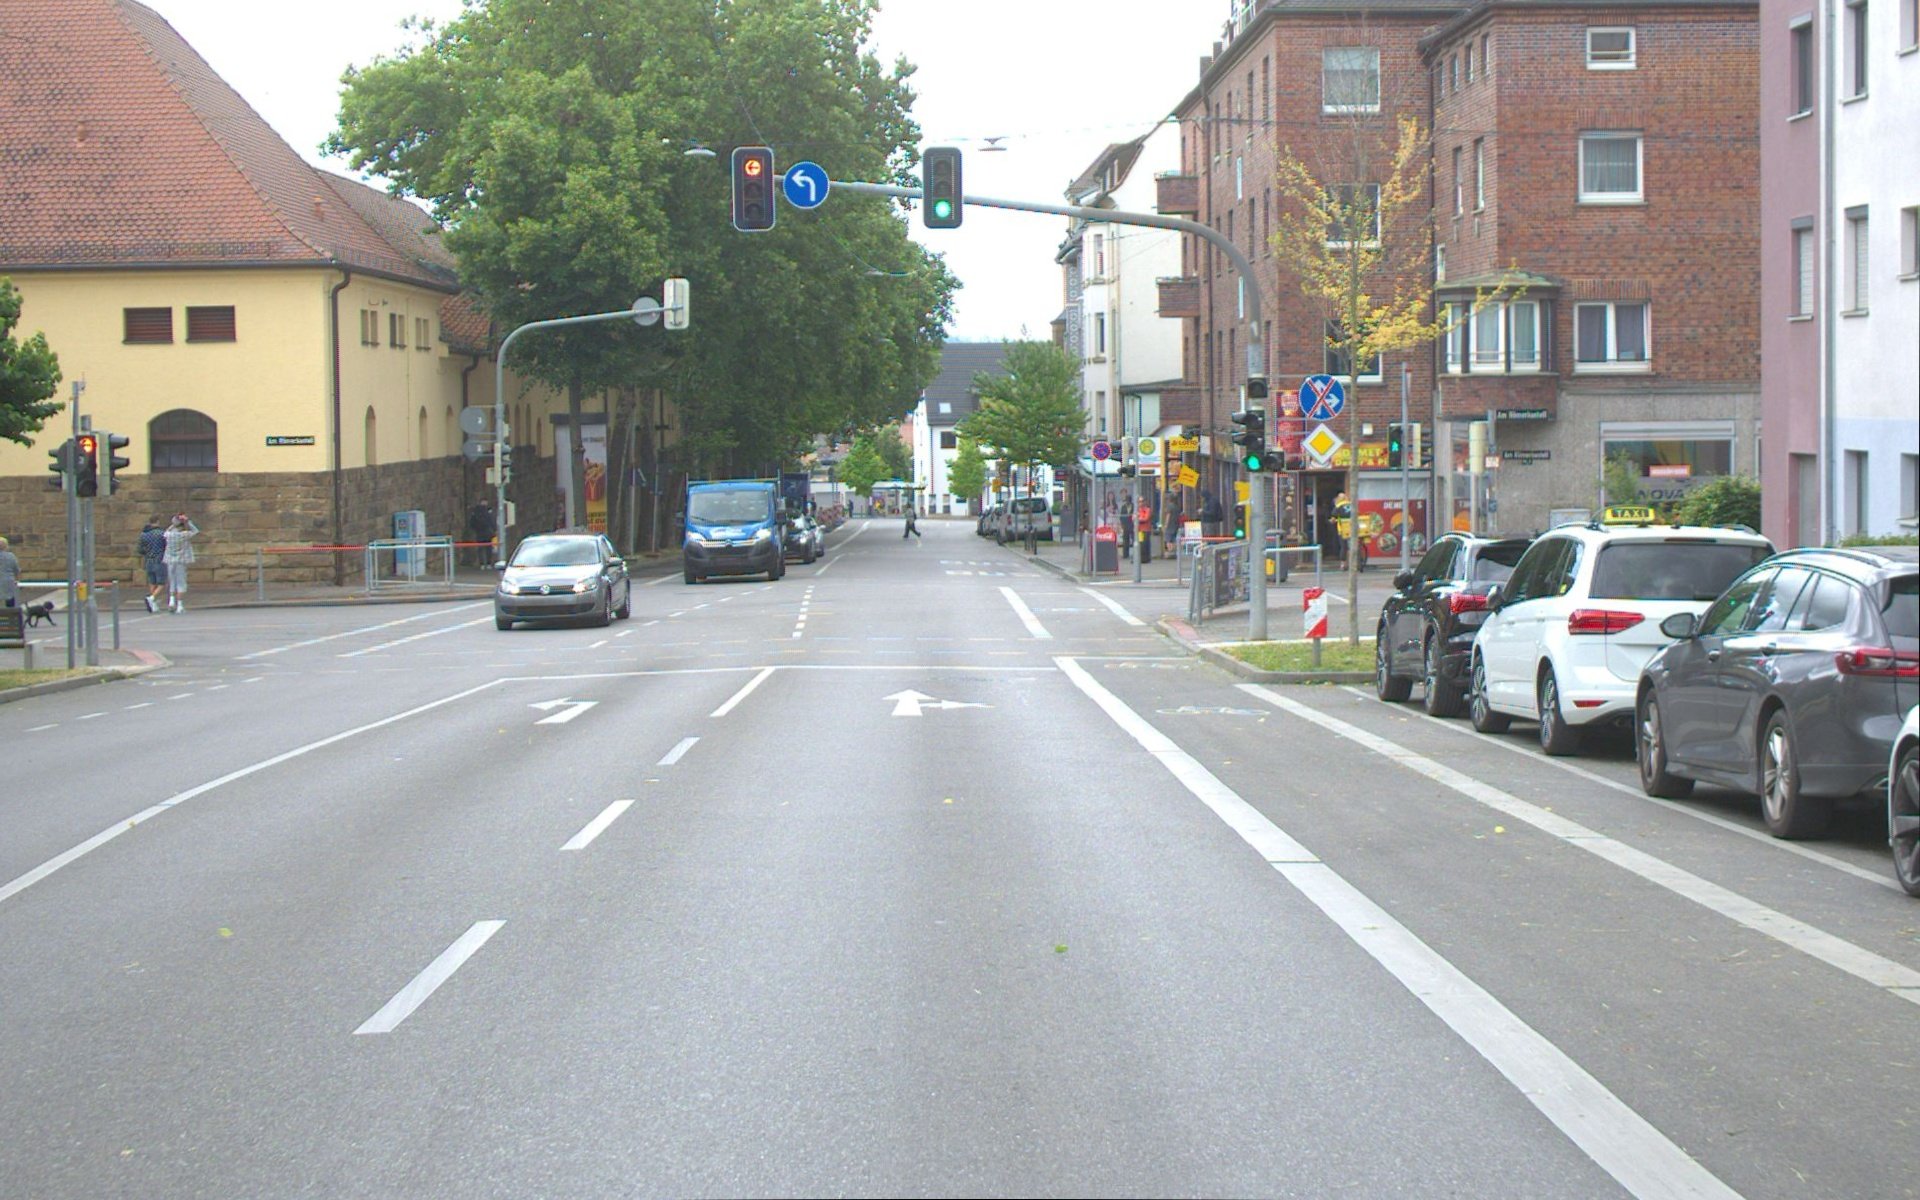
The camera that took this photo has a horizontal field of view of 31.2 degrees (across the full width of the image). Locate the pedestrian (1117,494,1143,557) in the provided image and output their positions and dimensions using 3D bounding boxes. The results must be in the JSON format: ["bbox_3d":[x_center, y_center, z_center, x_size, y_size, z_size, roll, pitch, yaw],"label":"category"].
[{"bbox_3d":[4.654,-2.039,94.182,0.670,1.721,0.763,0,1,5],"label":"pedestrian"}]

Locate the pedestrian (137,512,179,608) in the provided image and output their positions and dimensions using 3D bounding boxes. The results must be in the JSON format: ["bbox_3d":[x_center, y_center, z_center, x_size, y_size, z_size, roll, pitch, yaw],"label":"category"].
[{"bbox_3d":[-14.798,-0.743,63.446,0.564,1.771,0.842,0,1,-1],"label":"pedestrian"}]

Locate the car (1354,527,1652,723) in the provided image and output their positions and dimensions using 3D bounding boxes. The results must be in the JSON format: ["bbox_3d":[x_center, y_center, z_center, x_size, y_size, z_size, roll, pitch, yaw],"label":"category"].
[{"bbox_3d":[4.730,0.169,30.552,1.734,1.583,4.573,1,1,-2],"label":"car"}]

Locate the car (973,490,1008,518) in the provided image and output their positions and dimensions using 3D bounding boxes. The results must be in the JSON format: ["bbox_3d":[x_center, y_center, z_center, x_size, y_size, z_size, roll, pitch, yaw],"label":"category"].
[{"bbox_3d":[1.691,-5.381,192.231,1.668,1.542,3.757,0,2,-3],"label":"car"}]

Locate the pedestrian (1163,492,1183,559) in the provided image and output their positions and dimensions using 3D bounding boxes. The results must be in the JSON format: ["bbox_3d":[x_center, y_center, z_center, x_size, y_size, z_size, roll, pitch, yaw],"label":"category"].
[{"bbox_3d":[5.621,-1.961,90.668,0.479,1.759,0.458,0,1,-1],"label":"pedestrian"}]

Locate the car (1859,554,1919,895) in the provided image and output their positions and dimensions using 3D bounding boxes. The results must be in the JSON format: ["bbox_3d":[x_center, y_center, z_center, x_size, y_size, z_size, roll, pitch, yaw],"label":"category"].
[{"bbox_3d":[4.928,0.576,12.941,1.730,1.408,4.500,1,2,-2],"label":"car"}]

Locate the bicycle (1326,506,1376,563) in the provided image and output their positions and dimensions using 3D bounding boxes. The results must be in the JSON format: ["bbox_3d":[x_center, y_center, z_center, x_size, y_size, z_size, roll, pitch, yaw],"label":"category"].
[{"bbox_3d":[8.330,-1.397,73.316,0.760,1.189,2.392,0,2,-1],"label":"bicycle"}]

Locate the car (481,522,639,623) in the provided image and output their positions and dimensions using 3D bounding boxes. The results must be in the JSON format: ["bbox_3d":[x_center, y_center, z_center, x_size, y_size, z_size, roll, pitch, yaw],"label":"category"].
[{"bbox_3d":[-6.302,-0.465,54.612,1.756,1.467,4.306,-2,2,3],"label":"car"}]

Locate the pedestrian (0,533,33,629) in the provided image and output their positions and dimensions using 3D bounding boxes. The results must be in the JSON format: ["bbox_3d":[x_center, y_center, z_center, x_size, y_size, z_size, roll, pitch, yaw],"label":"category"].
[{"bbox_3d":[-15.729,-0.313,56.737,0.564,1.561,0.842,0,1,5],"label":"pedestrian"}]

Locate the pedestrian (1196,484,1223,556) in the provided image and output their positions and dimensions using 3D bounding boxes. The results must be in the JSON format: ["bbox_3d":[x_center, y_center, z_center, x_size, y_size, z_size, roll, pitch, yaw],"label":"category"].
[{"bbox_3d":[6.090,-1.953,83.799,0.647,1.744,0.778,0,1,5],"label":"pedestrian"}]

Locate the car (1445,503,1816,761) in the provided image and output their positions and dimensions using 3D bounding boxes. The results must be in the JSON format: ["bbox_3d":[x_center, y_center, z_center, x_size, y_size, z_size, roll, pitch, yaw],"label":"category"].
[{"bbox_3d":[4.832,0.153,25.401,1.658,1.710,4.552,1,2,-2],"label":"car"}]

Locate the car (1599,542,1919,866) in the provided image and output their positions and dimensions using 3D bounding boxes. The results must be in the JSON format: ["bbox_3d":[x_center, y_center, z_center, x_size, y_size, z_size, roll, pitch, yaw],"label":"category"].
[{"bbox_3d":[4.897,0.460,18.635,1.745,1.462,4.950,1,2,-2],"label":"car"}]

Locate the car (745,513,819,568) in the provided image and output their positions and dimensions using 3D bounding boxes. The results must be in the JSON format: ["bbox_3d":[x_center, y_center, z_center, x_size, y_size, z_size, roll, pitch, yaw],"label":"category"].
[{"bbox_3d":[-4.885,-1.666,94.815,1.703,1.409,4.192,-2,2,1],"label":"car"}]

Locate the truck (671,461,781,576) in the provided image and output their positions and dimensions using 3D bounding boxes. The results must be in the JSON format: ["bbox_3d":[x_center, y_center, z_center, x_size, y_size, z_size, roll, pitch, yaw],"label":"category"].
[{"bbox_3d":[-5.208,-1.841,77.010,2.295,2.419,6.412,-2,2,-3],"label":"truck"}]

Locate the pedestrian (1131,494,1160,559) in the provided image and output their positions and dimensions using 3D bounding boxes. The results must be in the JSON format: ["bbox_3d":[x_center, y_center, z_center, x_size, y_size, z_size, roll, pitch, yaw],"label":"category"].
[{"bbox_3d":[4.684,-1.857,86.680,0.565,1.631,0.680,0,2,20],"label":"pedestrian"}]

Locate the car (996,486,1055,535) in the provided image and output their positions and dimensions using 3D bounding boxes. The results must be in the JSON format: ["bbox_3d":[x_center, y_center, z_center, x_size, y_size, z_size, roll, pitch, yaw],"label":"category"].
[{"bbox_3d":[2.642,-3.619,138.958,1.993,1.929,4.920,0,2,-3],"label":"car"}]

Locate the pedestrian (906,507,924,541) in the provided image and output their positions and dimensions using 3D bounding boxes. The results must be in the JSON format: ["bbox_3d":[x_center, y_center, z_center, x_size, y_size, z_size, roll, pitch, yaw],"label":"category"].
[{"bbox_3d":[-2.076,-3.503,158.339,0.672,1.531,0.611,-1,1,-14],"label":"pedestrian"}]

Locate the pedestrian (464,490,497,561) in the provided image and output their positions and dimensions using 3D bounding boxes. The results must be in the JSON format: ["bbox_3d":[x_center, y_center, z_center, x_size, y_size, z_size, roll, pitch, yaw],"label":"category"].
[{"bbox_3d":[-11.914,-1.855,85.468,0.674,1.759,0.725,0,1,2],"label":"pedestrian"}]

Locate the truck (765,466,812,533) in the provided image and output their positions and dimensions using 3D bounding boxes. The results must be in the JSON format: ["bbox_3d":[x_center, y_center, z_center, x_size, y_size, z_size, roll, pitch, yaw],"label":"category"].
[{"bbox_3d":[-8.713,-5.139,175.168,2.231,3.335,7.450,0,2,-2],"label":"truck"}]

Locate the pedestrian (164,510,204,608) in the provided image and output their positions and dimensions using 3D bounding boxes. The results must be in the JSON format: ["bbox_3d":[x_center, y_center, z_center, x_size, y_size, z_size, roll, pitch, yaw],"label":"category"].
[{"bbox_3d":[-14.160,-0.760,62.739,0.564,1.771,0.717,0,1,-1],"label":"pedestrian"}]

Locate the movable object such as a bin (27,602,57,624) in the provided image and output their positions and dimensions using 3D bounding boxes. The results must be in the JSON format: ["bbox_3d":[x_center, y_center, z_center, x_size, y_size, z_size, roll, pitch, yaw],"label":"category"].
[{"bbox_3d":[-15.565,0.221,58.298,0.306,0.346,0.581,0,2,5],"label":"movable object such as a bin"}]

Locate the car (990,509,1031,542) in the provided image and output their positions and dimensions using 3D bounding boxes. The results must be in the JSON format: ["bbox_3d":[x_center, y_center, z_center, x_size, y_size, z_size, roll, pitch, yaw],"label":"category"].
[{"bbox_3d":[2.368,-3.547,162.809,1.668,1.542,3.757,0,2,-3],"label":"car"}]

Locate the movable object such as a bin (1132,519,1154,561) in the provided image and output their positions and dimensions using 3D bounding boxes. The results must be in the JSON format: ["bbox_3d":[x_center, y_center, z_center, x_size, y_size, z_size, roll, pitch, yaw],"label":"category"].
[{"bbox_3d":[4.600,-1.513,86.487,0.453,1.053,0.410,0,1,19],"label":"movable object such as a bin"}]

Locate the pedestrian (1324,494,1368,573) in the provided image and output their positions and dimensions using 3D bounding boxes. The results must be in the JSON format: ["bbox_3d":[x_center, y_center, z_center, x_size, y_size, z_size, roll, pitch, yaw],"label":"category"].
[{"bbox_3d":[8.243,-1.421,73.441,0.788,1.650,0.772,-3,1,0],"label":"pedestrian"}]
